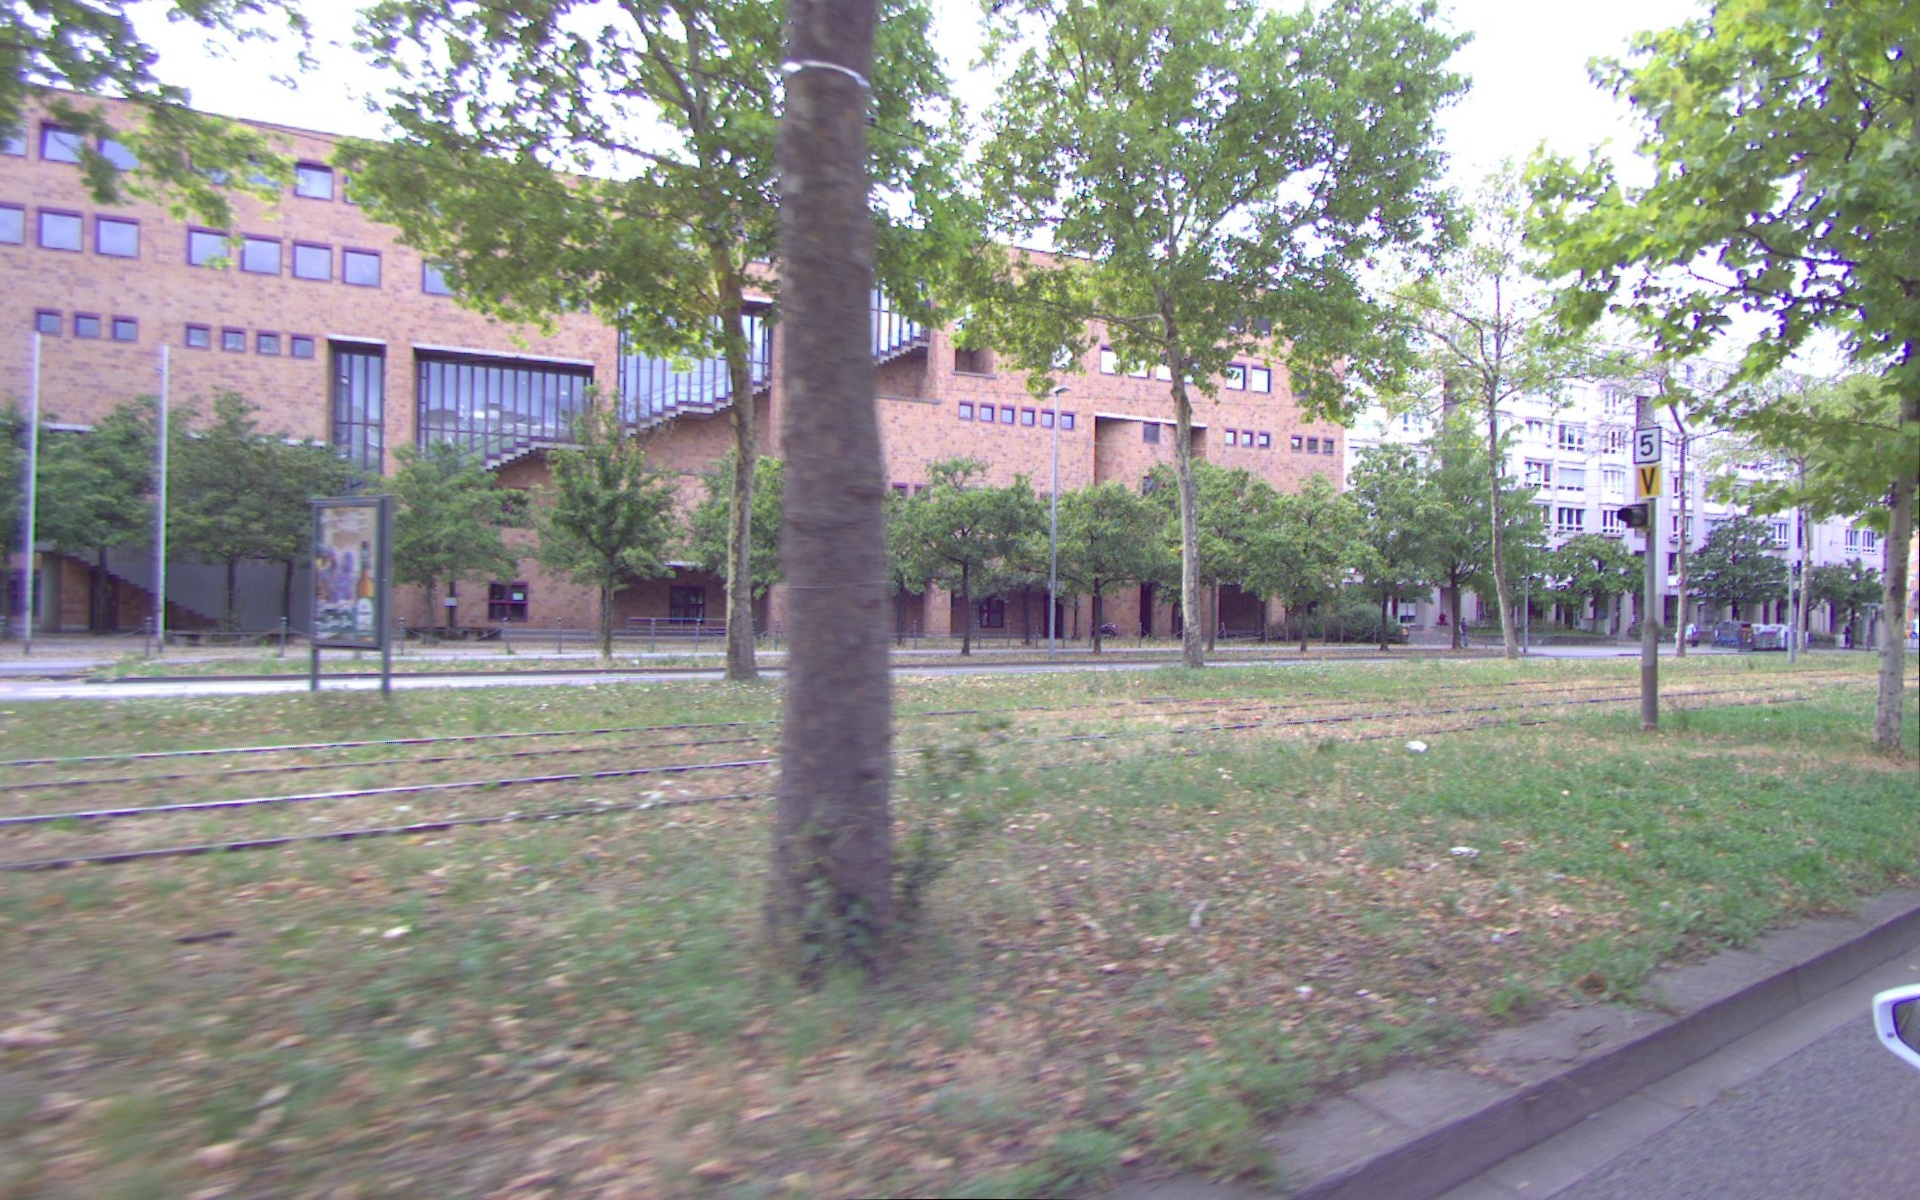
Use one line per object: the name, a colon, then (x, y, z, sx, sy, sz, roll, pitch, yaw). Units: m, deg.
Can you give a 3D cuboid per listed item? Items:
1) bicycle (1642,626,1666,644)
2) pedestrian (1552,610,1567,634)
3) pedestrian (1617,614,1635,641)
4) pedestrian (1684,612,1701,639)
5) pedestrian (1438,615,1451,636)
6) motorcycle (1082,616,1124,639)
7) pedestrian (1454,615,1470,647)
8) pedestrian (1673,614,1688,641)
bicycle: (48.042, 2.423, 69.495, 1.814, 1.228, 0.532, 1, 0, -25)
pedestrian: (42.763, 1.589, 71.672, 0.650, 1.694, 0.635, 1, 0, -23)
pedestrian: (46.842, 1.930, 70.633, 0.682, 1.833, 0.768, 1, 0, -22)
pedestrian: (46.194, 1.610, 63.369, 0.873, 1.728, 0.550, 1, 0, -28)
pedestrian: (30.814, 1.609, 63.905, 0.546, 1.340, 0.456, 1, 0, -21)
motorcycle: (7.936, 1.523, 55.873, 2.161, 1.207, 0.794, 0, -1, 35)
pedestrian: (27.885, 1.719, 55.776, 0.618, 1.728, 0.550, 1, 0, -28)
pedestrian: (45.871, 1.768, 63.983, 0.618, 1.728, 0.550, 1, 0, -28)
